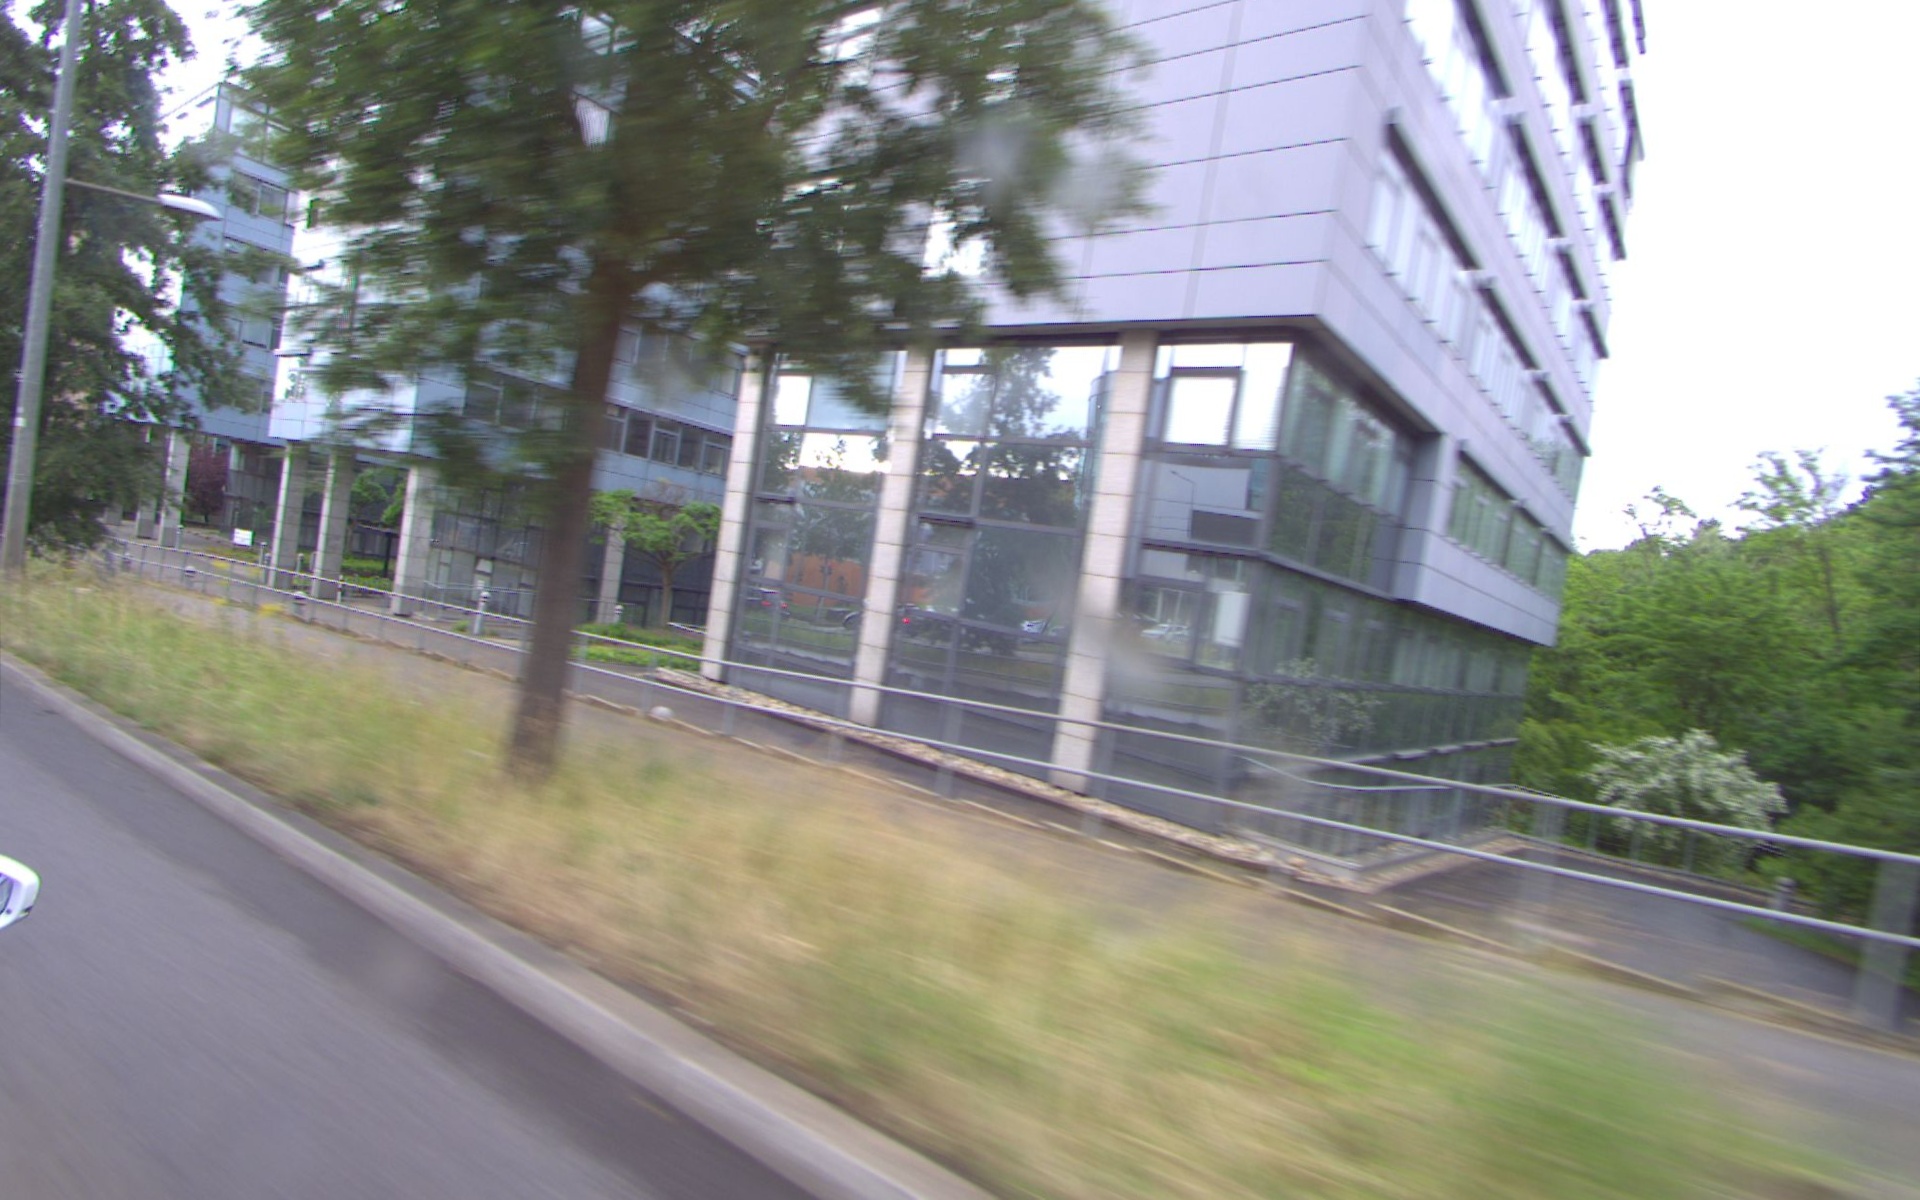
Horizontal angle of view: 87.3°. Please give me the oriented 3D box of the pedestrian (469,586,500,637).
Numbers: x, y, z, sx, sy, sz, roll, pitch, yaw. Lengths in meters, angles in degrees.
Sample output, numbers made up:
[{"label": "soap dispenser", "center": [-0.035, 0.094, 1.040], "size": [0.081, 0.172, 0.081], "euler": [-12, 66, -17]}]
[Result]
[{"label": "pedestrian", "center": [-13.973, 0.345, 29.566], "size": [0.450, 1.425, 0.503], "euler": [7, -1, 37]}]
